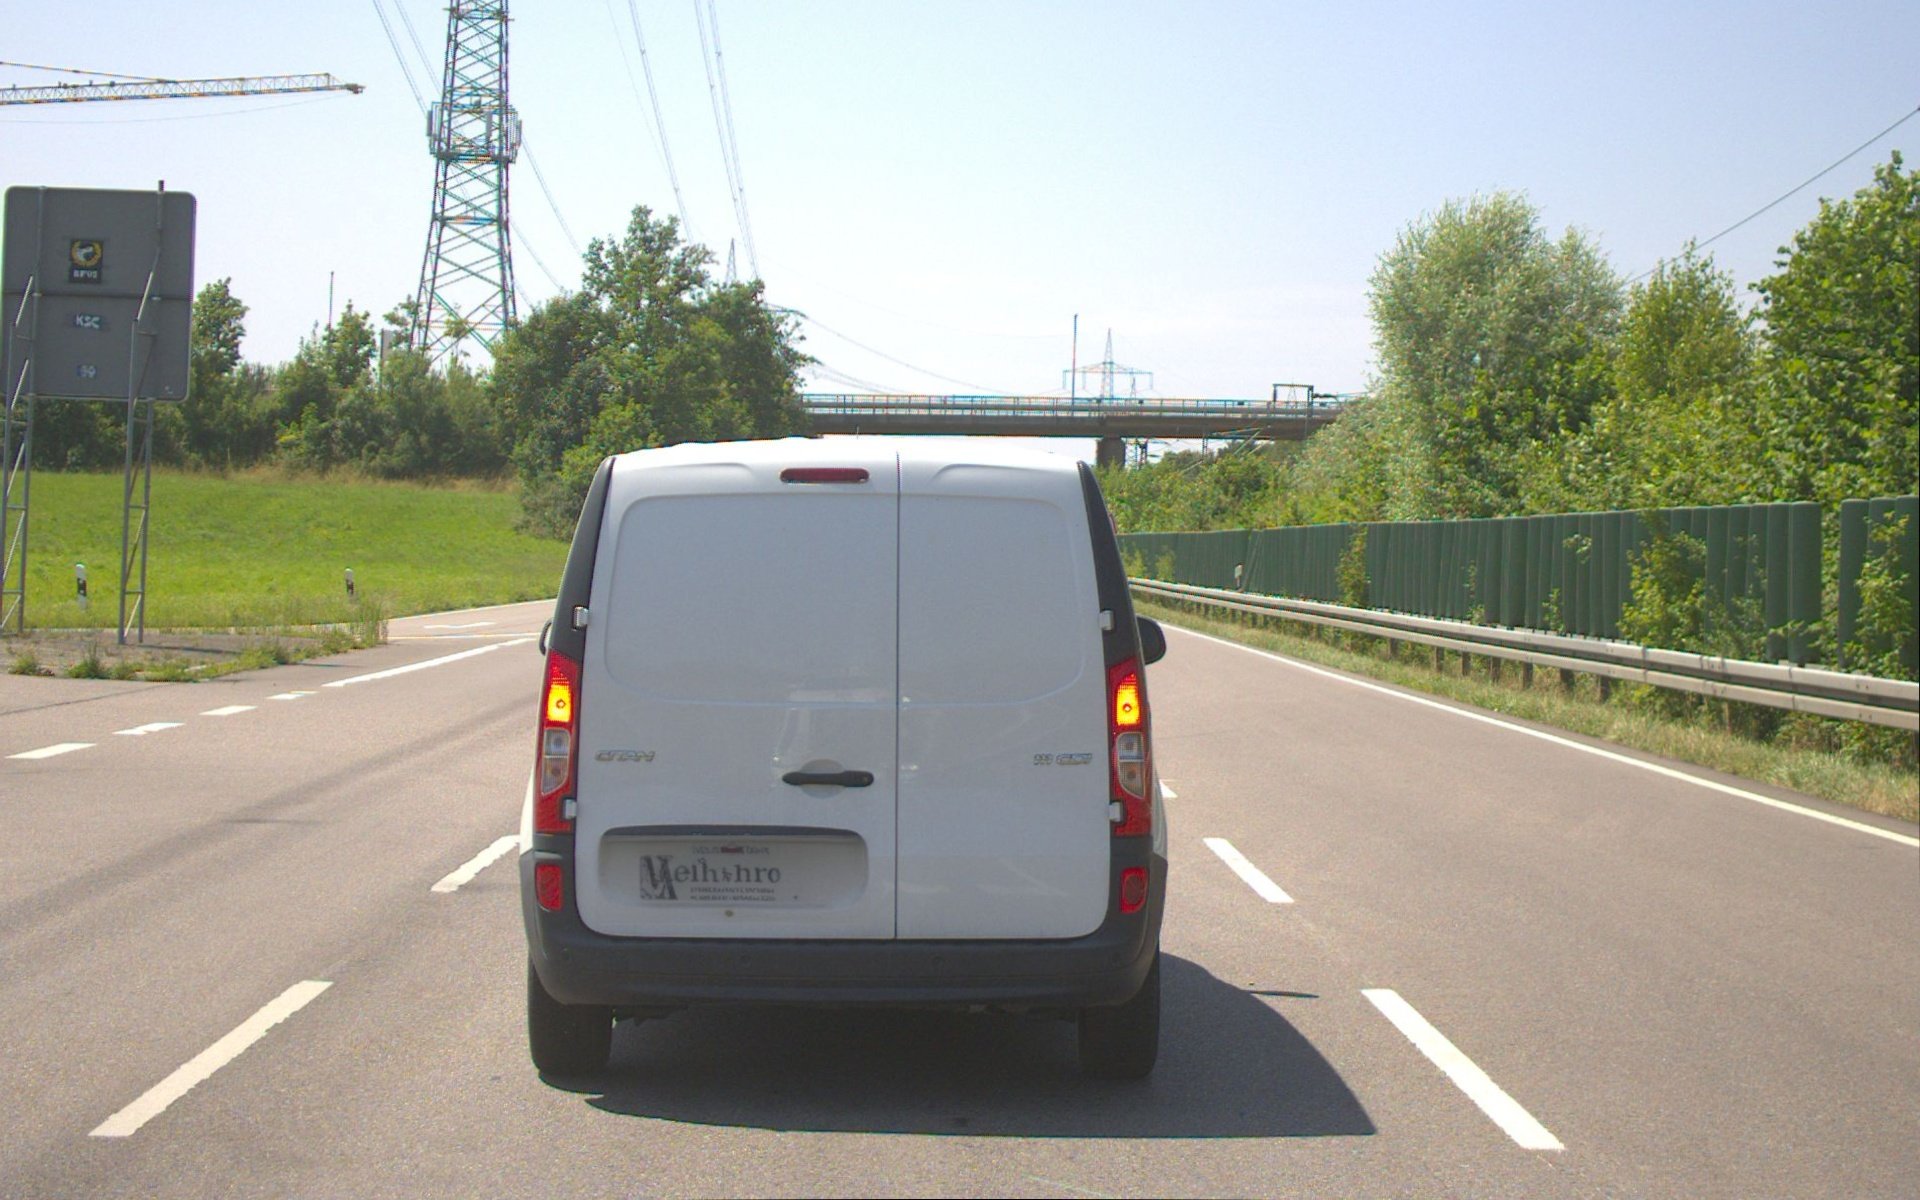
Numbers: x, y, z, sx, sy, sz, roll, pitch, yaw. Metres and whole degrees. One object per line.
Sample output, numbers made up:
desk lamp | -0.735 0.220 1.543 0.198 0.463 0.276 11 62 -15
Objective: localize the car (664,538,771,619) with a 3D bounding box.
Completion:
car | -4.622 -0.432 65.899 1.782 1.459 4.000 2 1 -1

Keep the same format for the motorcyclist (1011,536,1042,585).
motorcyclist | 2.003 -1.194 104.163 0.889 1.471 1.002 1 1 -1

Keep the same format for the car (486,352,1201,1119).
car | -0.335 0.318 10.898 1.827 1.964 4.000 1 1 -1

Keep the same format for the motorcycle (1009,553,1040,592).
motorcycle | 1.941 -0.831 103.845 0.790 1.153 1.901 2 1 -2
